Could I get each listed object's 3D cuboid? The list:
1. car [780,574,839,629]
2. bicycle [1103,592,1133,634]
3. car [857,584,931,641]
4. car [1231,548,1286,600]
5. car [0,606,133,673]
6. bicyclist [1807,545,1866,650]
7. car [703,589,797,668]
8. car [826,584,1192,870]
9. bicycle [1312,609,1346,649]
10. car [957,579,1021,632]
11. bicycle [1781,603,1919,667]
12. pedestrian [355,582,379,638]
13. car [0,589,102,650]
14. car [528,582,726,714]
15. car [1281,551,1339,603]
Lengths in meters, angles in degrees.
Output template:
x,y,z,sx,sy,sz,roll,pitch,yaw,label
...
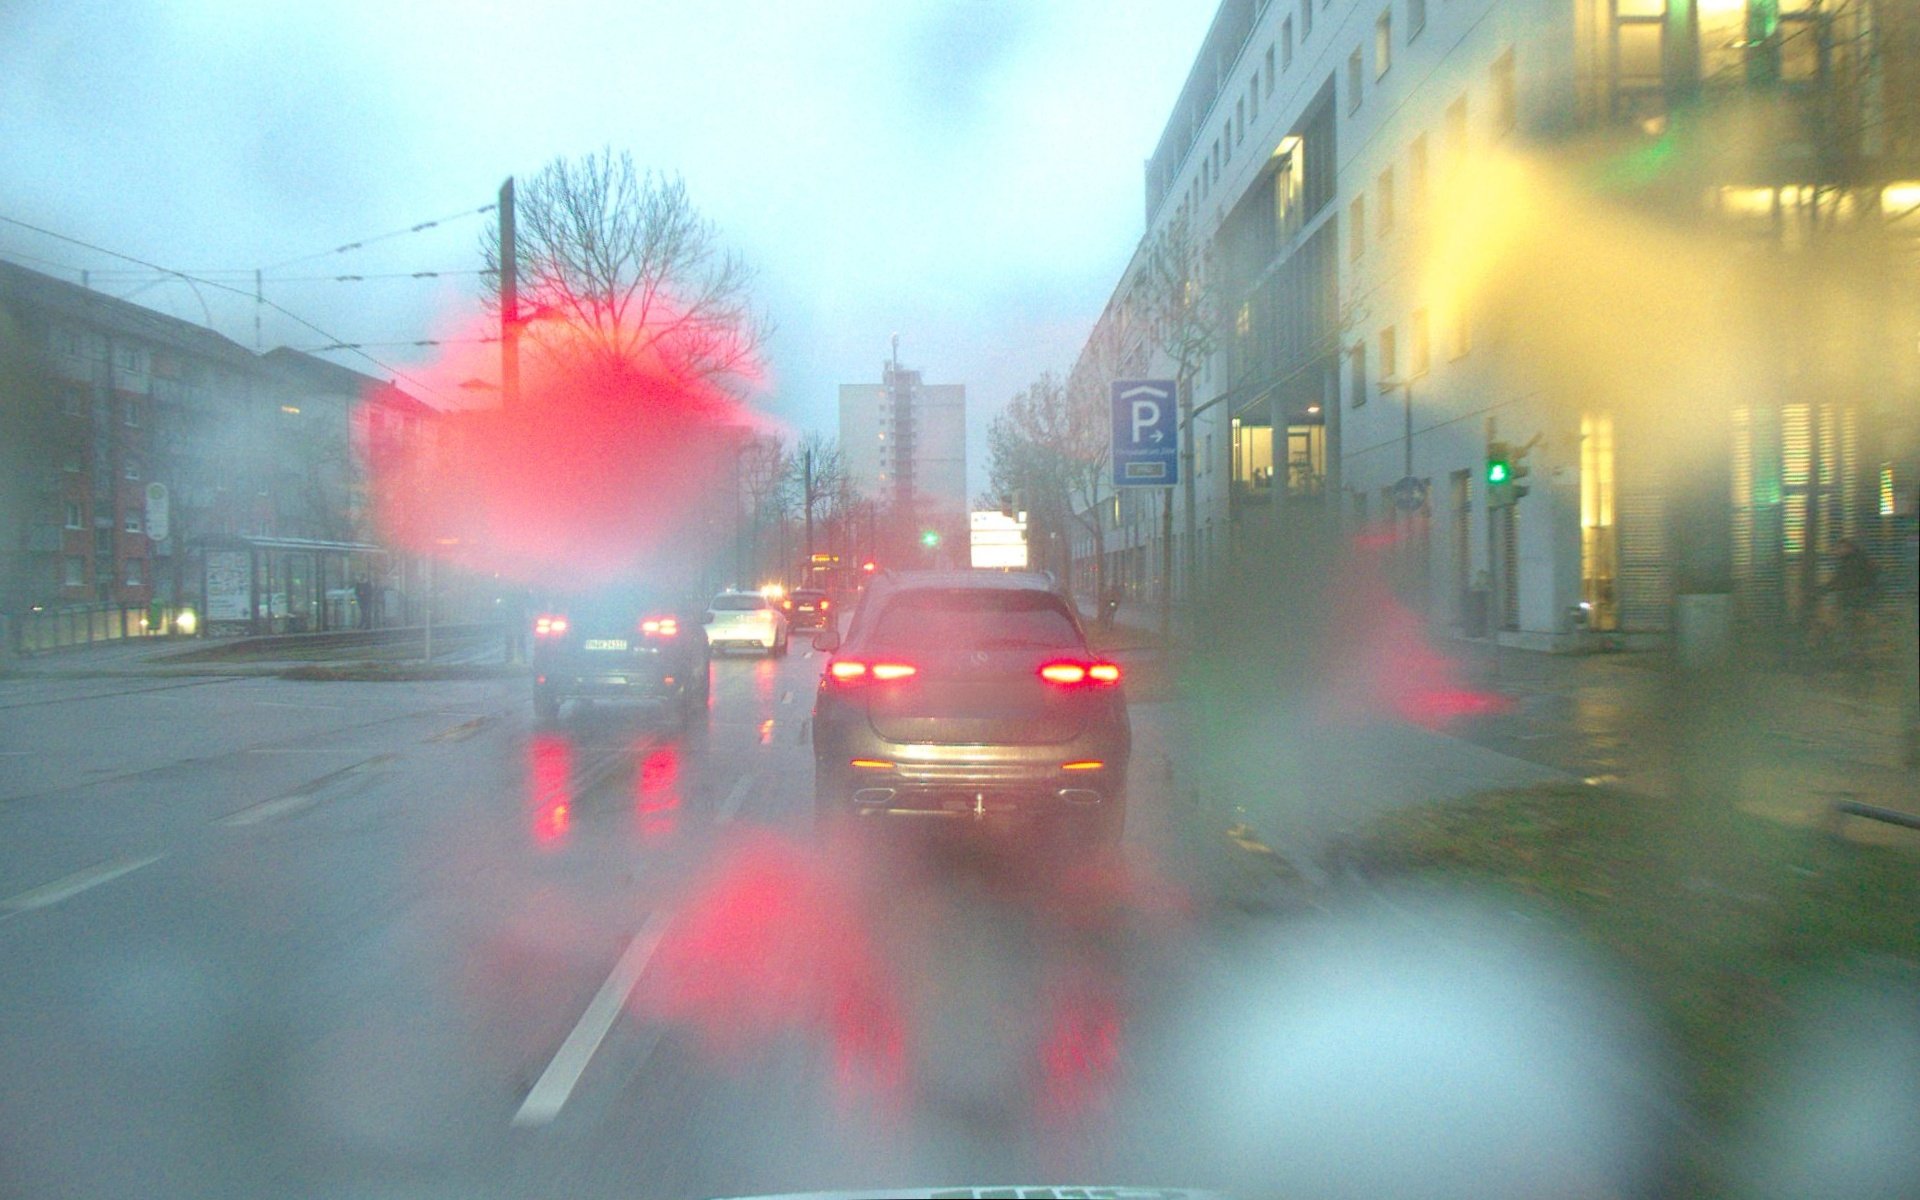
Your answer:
x,y,z,sx,sy,sz,roll,pitch,yaw,label
-5.159,0.056,57.024,1.628,1.790,3.568,1,0,1,car
3.833,0.311,40.218,0.534,0.982,1.345,1,0,-3,bicycle
-1.888,0.333,48.560,1.828,1.570,3.612,1,0,3,car
10.737,-0.905,59.624,1.593,1.790,3.424,1,0,5,car
-20.241,0.849,37.280,1.415,1.365,3.636,1,0,-1,car
11.428,-0.036,21.564,0.610,1.353,0.564,1,0,33,bicyclist
-4.721,0.610,37.560,1.655,1.664,3.473,1,0,0,car
0.260,0.681,10.798,1.953,1.509,3.700,1,0,0,car
9.290,0.728,41.699,0.367,0.946,1.076,1,2,-15,bicycle
0.873,0.146,51.831,1.812,1.582,3.430,1,0,-2,car
11.618,0.443,21.421,1.698,0.758,0.649,1,0,34,bicycle
-17.905,0.301,49.934,0.483,1.685,0.463,1,0,19,pedestrian
-32.647,0.655,59.228,1.954,2.049,3.997,1,0,-4,car
-4.074,0.529,20.857,1.781,1.476,3.999,1,0,-2,car
12.563,-0.827,59.499,1.593,1.790,3.424,1,0,5,car
